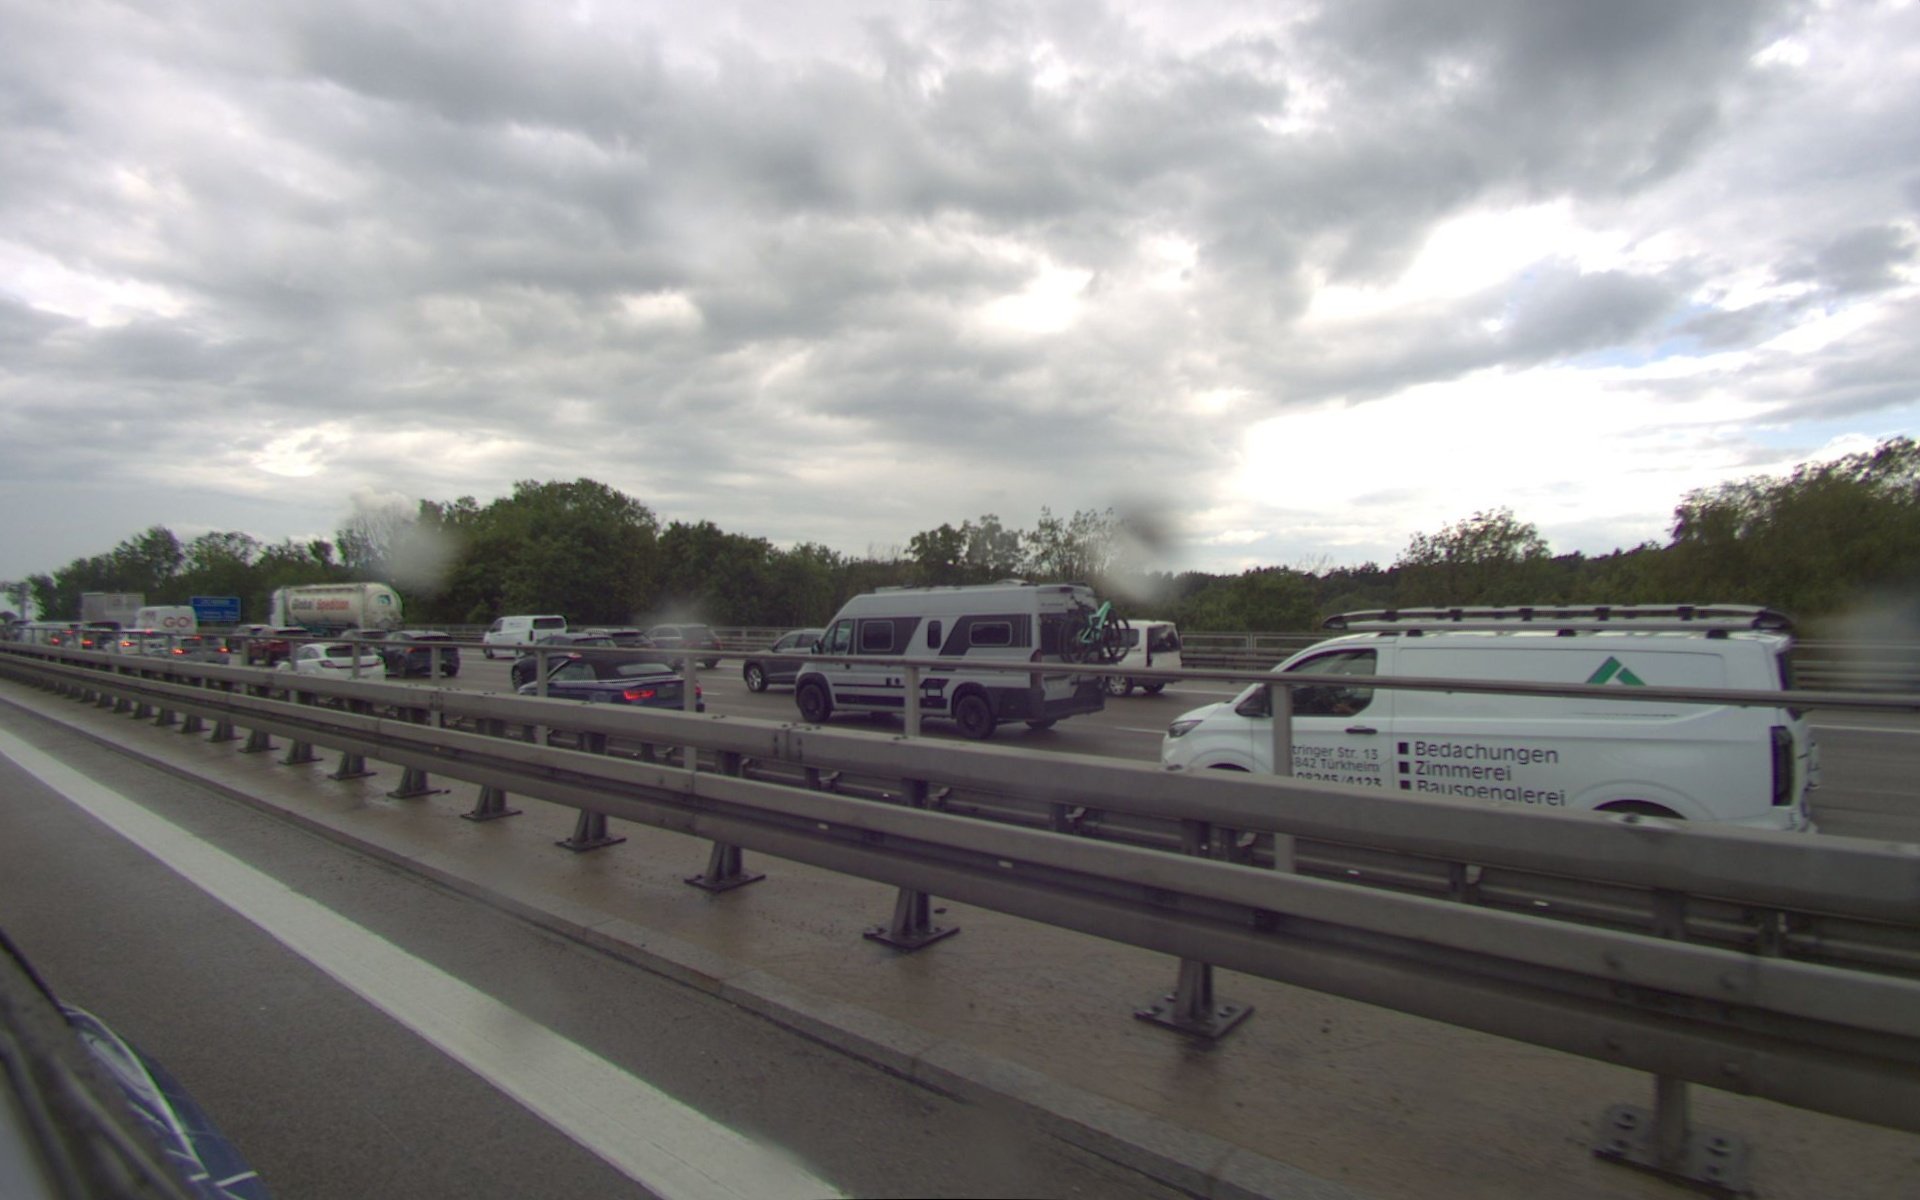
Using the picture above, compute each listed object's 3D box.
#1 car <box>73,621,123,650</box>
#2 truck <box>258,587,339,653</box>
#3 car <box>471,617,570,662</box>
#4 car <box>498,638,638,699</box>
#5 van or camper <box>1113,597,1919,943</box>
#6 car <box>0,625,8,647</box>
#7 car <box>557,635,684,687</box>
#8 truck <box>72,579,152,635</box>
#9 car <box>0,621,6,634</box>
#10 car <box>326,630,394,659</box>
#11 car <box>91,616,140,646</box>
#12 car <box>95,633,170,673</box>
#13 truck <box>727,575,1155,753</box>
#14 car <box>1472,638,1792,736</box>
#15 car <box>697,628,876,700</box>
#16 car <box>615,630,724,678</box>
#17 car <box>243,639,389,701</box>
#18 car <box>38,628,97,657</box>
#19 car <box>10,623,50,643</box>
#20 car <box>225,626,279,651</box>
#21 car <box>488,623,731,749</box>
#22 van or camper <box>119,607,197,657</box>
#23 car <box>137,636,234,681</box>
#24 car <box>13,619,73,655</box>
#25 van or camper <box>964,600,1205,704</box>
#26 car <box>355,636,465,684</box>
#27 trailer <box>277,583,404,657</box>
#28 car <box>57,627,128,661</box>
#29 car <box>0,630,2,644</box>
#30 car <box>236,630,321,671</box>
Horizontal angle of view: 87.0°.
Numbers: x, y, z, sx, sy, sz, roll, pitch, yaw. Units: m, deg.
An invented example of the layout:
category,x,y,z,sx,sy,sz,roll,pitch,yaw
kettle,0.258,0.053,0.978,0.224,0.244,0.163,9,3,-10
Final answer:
category,x,y,z,sx,sy,sz,roll,pitch,yaw
car,-57.046,2.348,66.938,4.644,1.871,1.776,-1,-2,40
truck,-42.301,1.300,64.650,6.978,3.995,2.436,-1,-2,40
car,-20.214,1.785,46.460,5.417,1.959,1.982,-1,-2,40
car,-10.710,1.814,27.530,4.029,1.486,1.813,-1,-2,40
van or camper,4.253,1.093,8.667,5.637,2.084,1.964,-1,-2,40
car,-68.188,2.489,70.950,3.997,1.517,1.652,-1,-2,40
car,-11.105,1.935,32.953,4.581,1.523,1.813,-1,-2,40
truck,-69.907,0.662,83.324,10.861,4.325,3.225,-1,-2,40
car,-117.339,3.345,122.638,3.997,1.524,1.999,-1,-2,40
car,-27.925,2.029,47.080,3.997,1.277,1.482,-1,-2,40
car,-54.486,1.993,65.276,4.111,1.854,1.688,-1,-2,40
car,-35.953,2.245,43.926,4.925,1.640,1.771,-1,-2,42
truck,-0.794,1.032,18.607,8.752,2.622,2.124,-1,-2,41
car,11.839,1.455,18.054,4.608,1.486,1.470,-1,-2,40
car,-4.650,1.599,26.628,5.062,1.722,1.813,-1,-2,40
car,-10.902,1.972,37.781,4.666,1.660,1.669,-1,-2,41
car,-17.979,1.866,28.128,5.921,1.486,1.812,-1,-2,41
car,-47.175,2.217,53.473,4.222,1.500,1.663,-1,-2,40
car,-77.082,2.742,83.843,4.418,1.628,1.907,-1,-2,40
car,-40.296,2.183,57.562,4.320,1.376,1.482,-1,-2,40
car,-6.372,1.405,18.137,4.720,1.964,1.929,-1,-2,39
van or camper,-45.338,1.787,57.106,7.453,2.624,2.013,-1,-2,40
car,-28.986,2.138,37.803,5.069,1.526,1.932,-1,-2,42
car,-52.928,2.118,58.396,5.033,2.001,1.835,-1,-2,40
van or camper,3.012,1.250,25.601,5.930,2.347,2.025,-1,-2,40
car,-18.720,1.968,34.363,4.574,1.486,1.812,-1,-2,41
trailer,-36.983,1.230,60.058,13.210,3.988,2.436,-1,-2,41
car,-41.050,2.052,47.849,4.598,1.522,1.772,-1,-2,40
car,-102.237,3.882,106.233,3.997,1.524,1.999,-1,-2,40
car,-29.139,2.097,43.225,4.415,1.660,1.813,-1,-2,40
